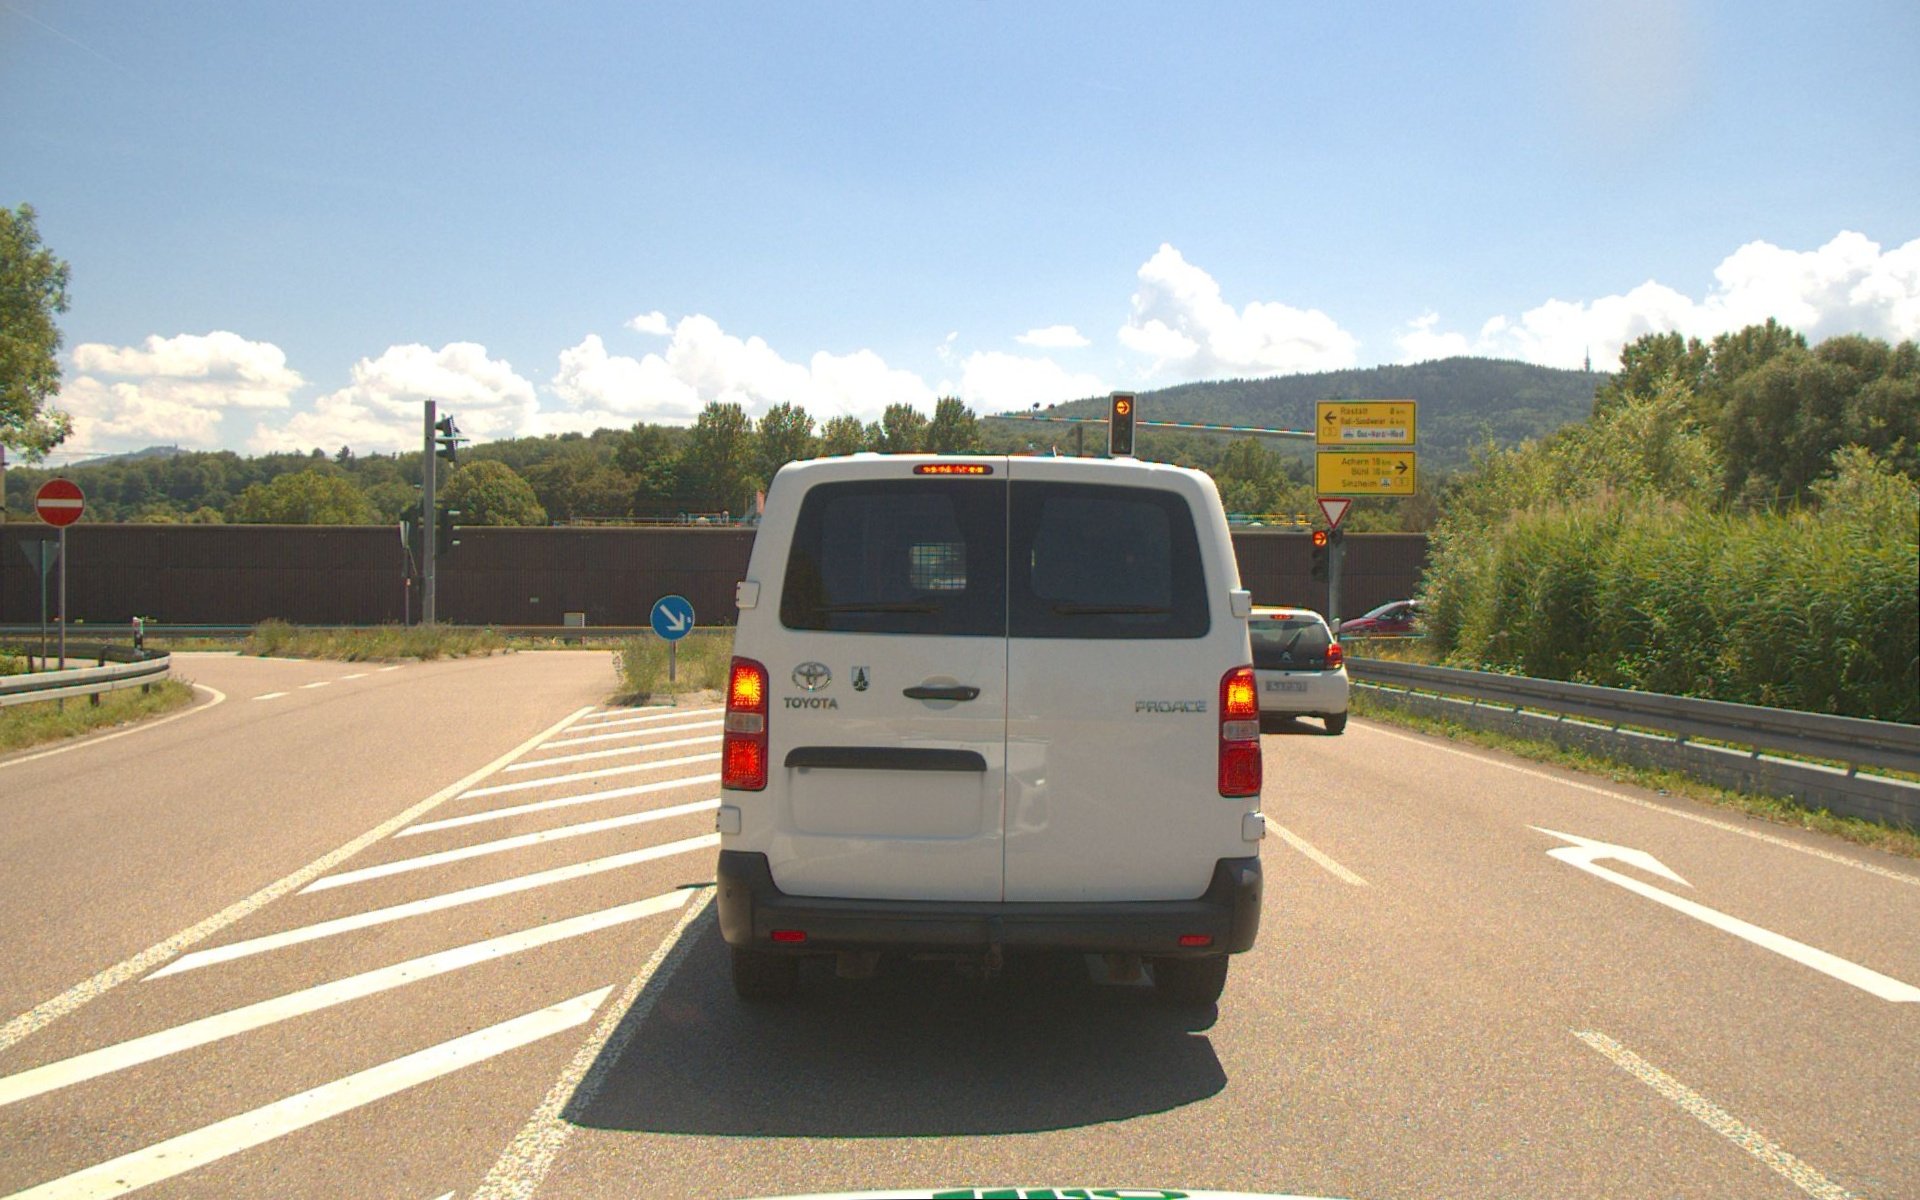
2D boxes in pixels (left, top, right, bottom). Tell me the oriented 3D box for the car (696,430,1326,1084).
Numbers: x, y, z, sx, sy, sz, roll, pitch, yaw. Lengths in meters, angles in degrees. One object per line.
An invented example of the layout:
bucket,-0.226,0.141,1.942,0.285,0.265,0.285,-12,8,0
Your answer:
car,0.116,0.475,6.913,1.848,1.919,3.999,1,0,-1

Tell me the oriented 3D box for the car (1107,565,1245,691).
car,3.764,0.472,29.540,1.889,2.035,4.838,1,0,1

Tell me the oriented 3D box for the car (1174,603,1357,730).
car,3.779,0.777,20.958,1.622,1.456,3.365,1,0,-1

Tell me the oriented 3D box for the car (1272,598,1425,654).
car,11.989,0.795,51.264,4.225,1.685,1.998,0,0,-4
